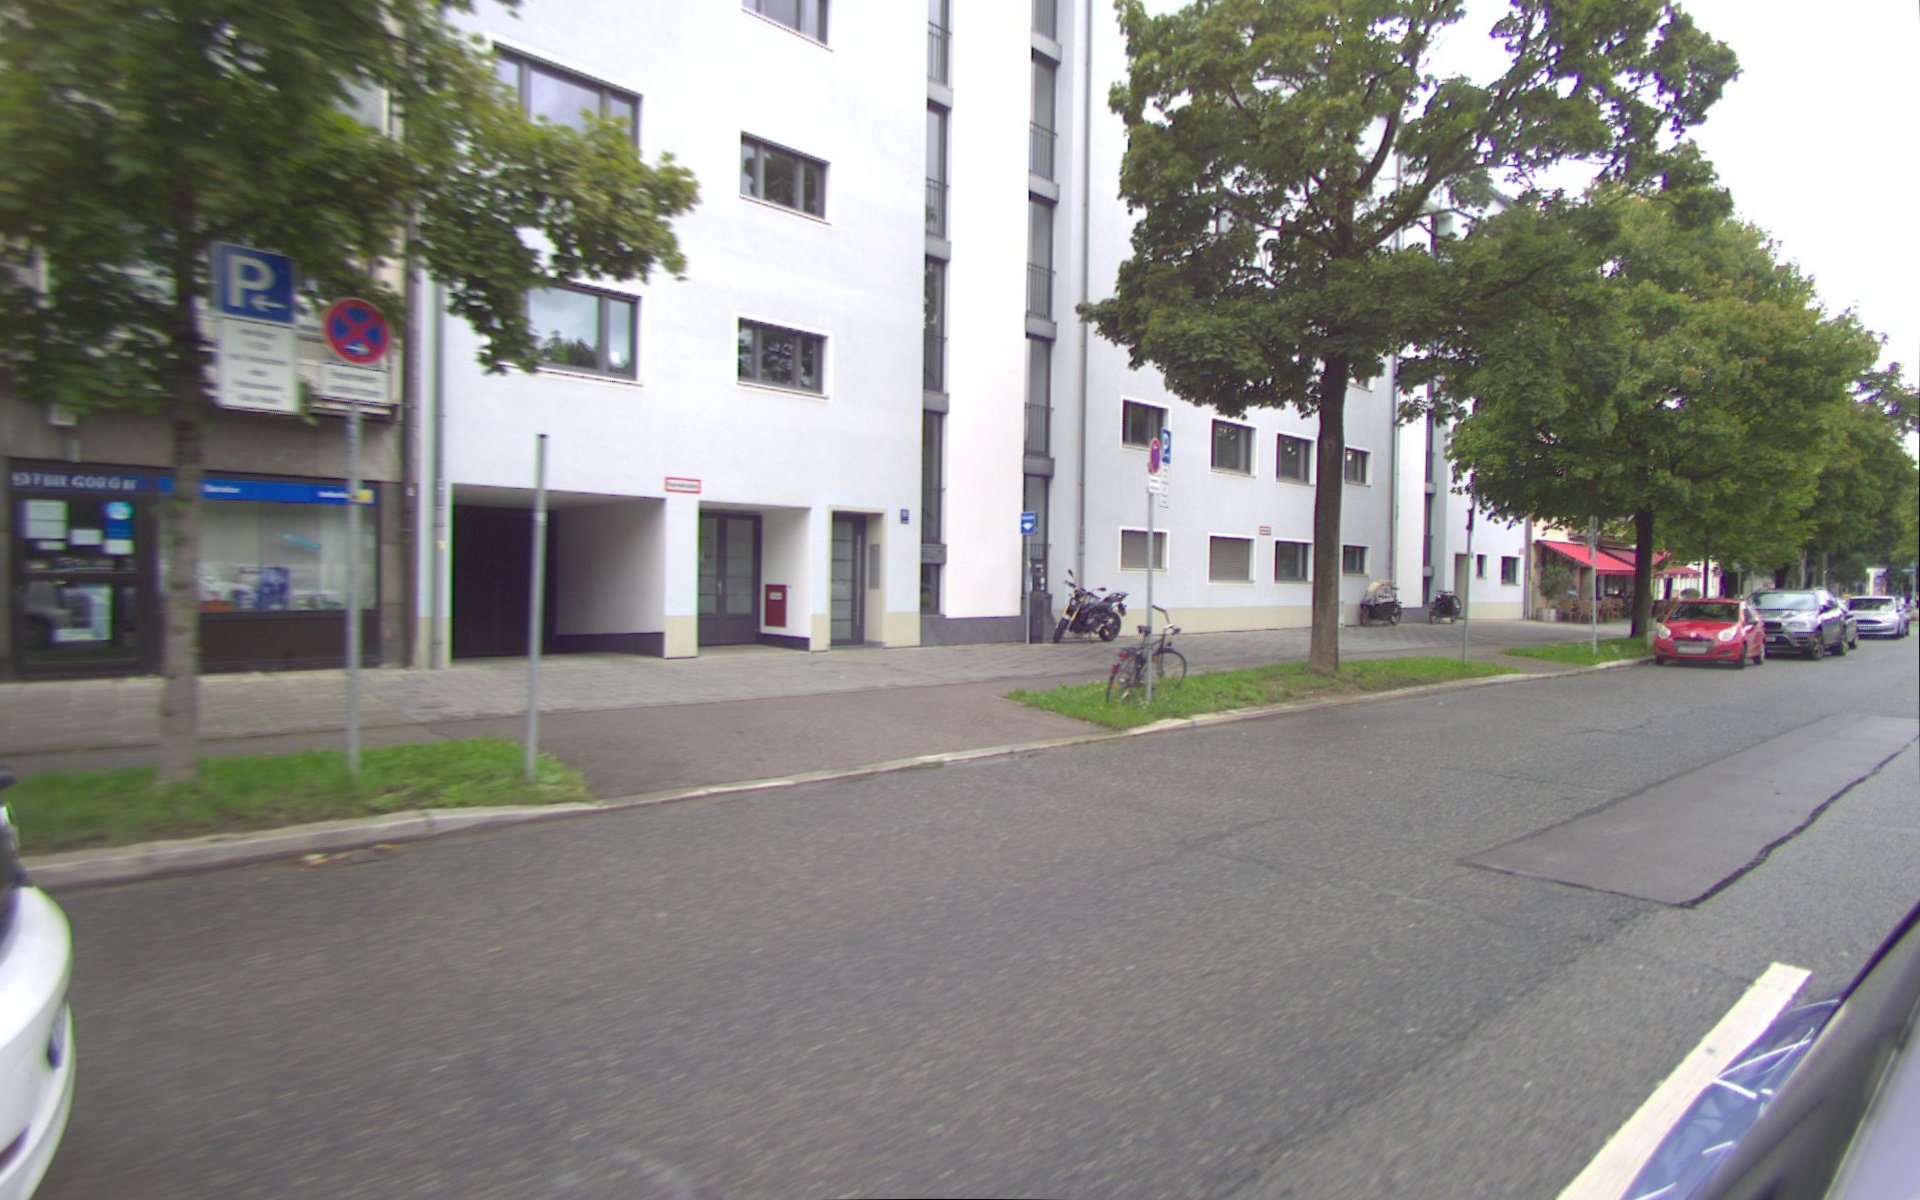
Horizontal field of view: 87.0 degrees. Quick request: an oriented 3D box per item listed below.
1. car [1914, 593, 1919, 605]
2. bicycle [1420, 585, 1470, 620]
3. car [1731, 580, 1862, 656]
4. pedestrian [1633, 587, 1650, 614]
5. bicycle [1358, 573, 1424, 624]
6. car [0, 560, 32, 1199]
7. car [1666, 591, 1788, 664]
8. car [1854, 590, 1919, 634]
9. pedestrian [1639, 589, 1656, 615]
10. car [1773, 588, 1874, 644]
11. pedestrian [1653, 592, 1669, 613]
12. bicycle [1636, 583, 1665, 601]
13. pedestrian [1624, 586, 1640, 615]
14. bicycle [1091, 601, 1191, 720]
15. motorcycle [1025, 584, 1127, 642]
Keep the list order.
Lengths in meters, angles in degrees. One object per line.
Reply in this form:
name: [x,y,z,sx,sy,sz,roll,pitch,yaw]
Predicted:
car: [122.329,-0.085,128.163,4.225,1.486,1.826,0,1,-41]
bicycle: [15.986,0.070,33.330,2.157,1.059,0.623,0,5,-41]
car: [21.480,0.397,25.927,4.428,1.768,1.833,0,1,-40]
pedestrian: [33.016,0.035,49.028,0.478,1.284,0.539,0,1,-42]
bicycle: [13.052,-0.056,30.584,2.547,1.424,0.704,0,5,-41]
car: [-3.455,0.675,1.212,3.375,1.509,1.689,0,0,-41]
car: [16.980,0.541,22.338,3.933,1.459,1.523,0,1,-43]
car: [34.846,0.421,37.855,4.450,1.541,1.830,0,0,-45]
pedestrian: [33.742,0.095,49.672,0.478,1.229,0.539,0,1,-40]
car: [25.586,0.433,29.948,3.706,1.541,1.832,0,1,-42]
pedestrian: [35.002,0.119,50.556,0.478,1.067,0.539,0,1,-40]
bicycle: [46.551,-0.537,68.220,0.687,1.170,1.471,0,1,-42]
pedestrian: [32.068,0.009,48.295,0.543,1.356,0.539,0,1,-42]
bicycle: [2.198,0.664,12.098,0.452,1.271,2.126,1,1,30]
motorcycle: [2.347,0.240,20.258,2.161,1.099,0.763,0,2,-41]
